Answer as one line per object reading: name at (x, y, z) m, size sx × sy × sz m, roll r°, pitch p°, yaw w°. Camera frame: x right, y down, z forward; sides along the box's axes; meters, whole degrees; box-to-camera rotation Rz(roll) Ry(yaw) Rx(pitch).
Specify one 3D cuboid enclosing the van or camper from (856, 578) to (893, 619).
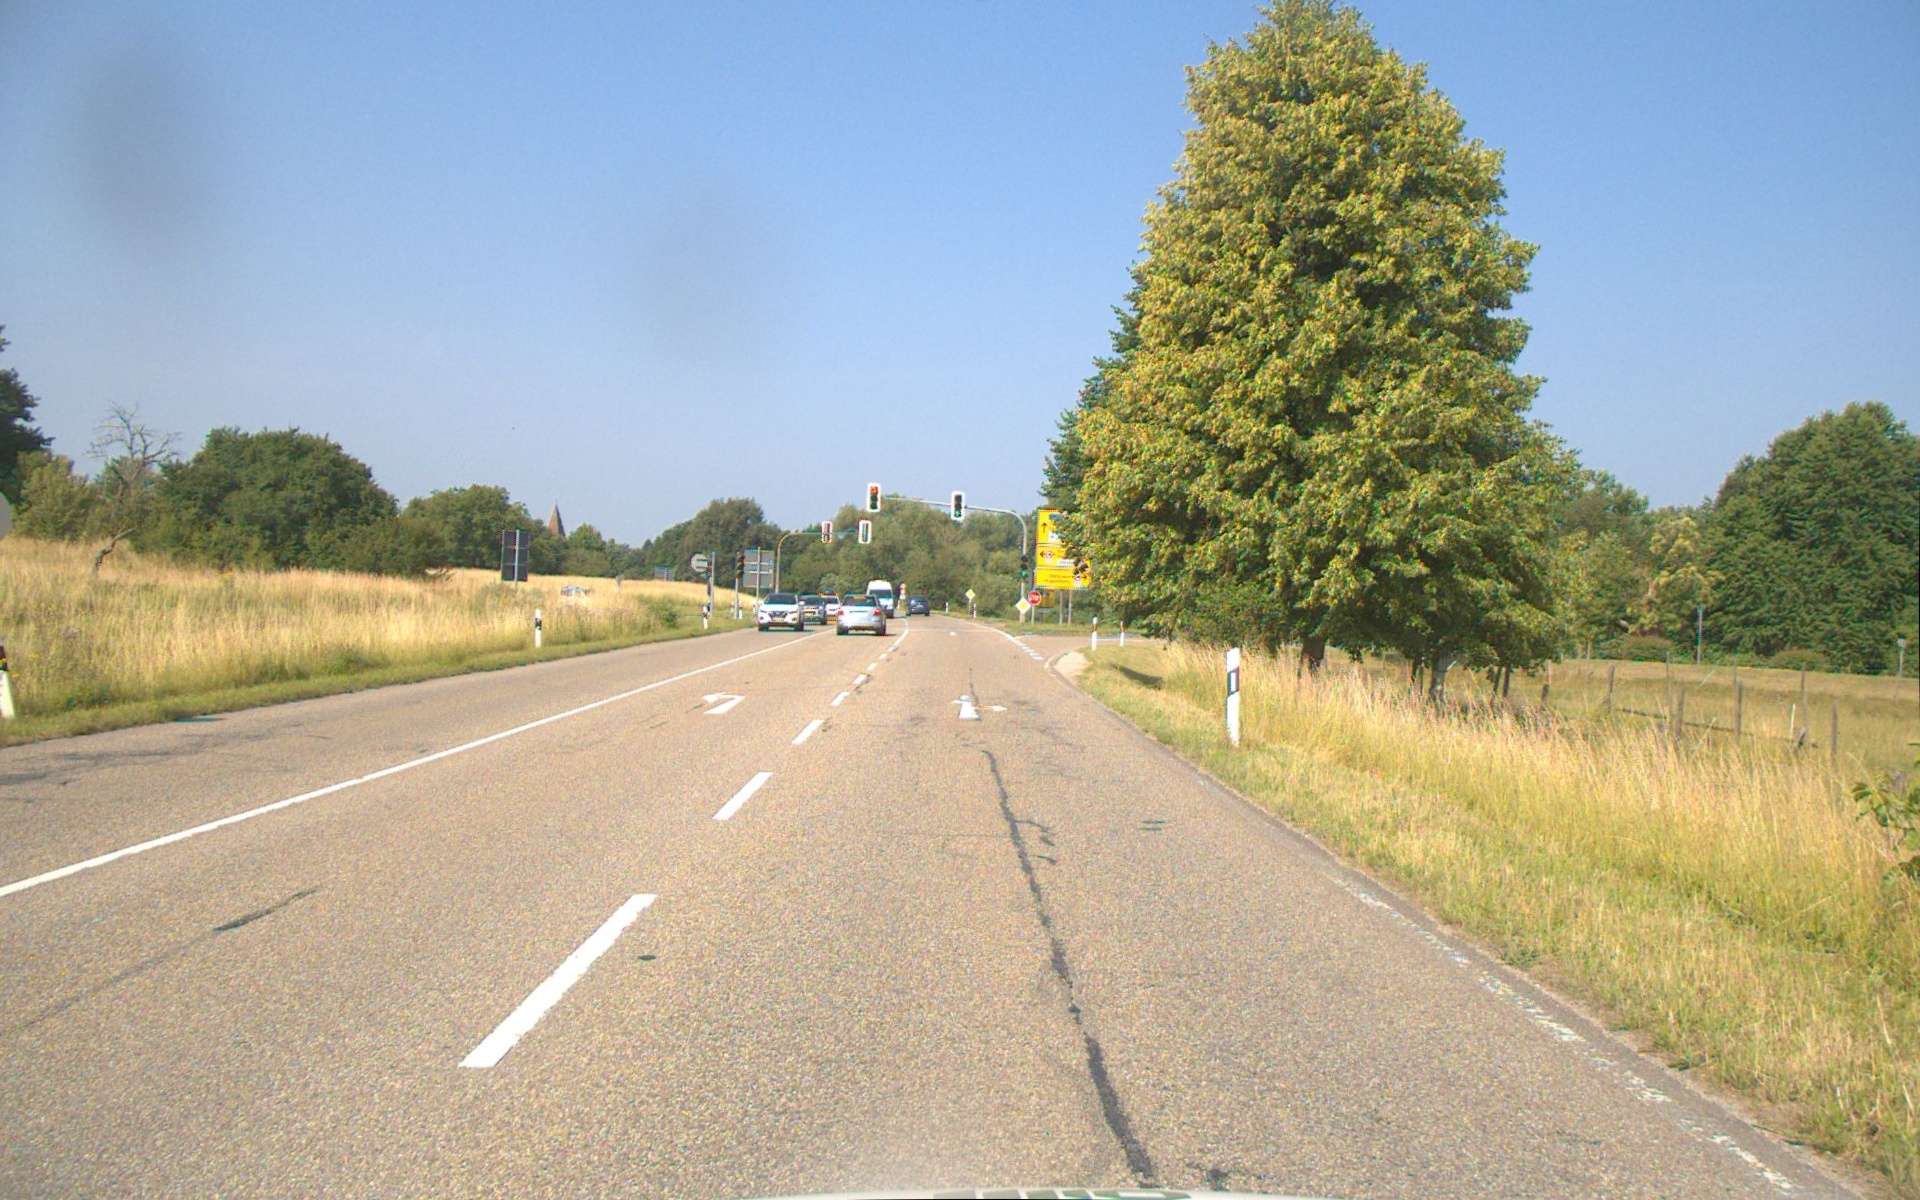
van or camper at (-6.252, -0.122, 121.736) m, size 2.219 × 2.756 × 5.262 m, roll 5°, pitch 0°, yaw 0°

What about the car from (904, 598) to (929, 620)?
car at (-3.469, 0.706, 132.570) m, size 1.779 × 1.547 × 3.999 m, roll 5°, pitch 0°, yaw -1°

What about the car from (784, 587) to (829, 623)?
car at (-8.434, 0.264, 91.316) m, size 1.894 × 1.757 × 4.001 m, roll 5°, pitch 0°, yaw 1°

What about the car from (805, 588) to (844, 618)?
car at (-8.678, 0.204, 106.203) m, size 1.894 × 1.757 × 4.001 m, roll 5°, pitch 0°, yaw 1°

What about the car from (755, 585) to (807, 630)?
car at (-7.716, 0.299, 71.542) m, size 1.559 × 1.757 × 4.001 m, roll 5°, pitch 0°, yaw 2°

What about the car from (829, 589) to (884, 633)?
car at (-4.134, 0.423, 66.519) m, size 1.861 × 1.538 × 4.000 m, roll 5°, pitch 0°, yaw 0°
